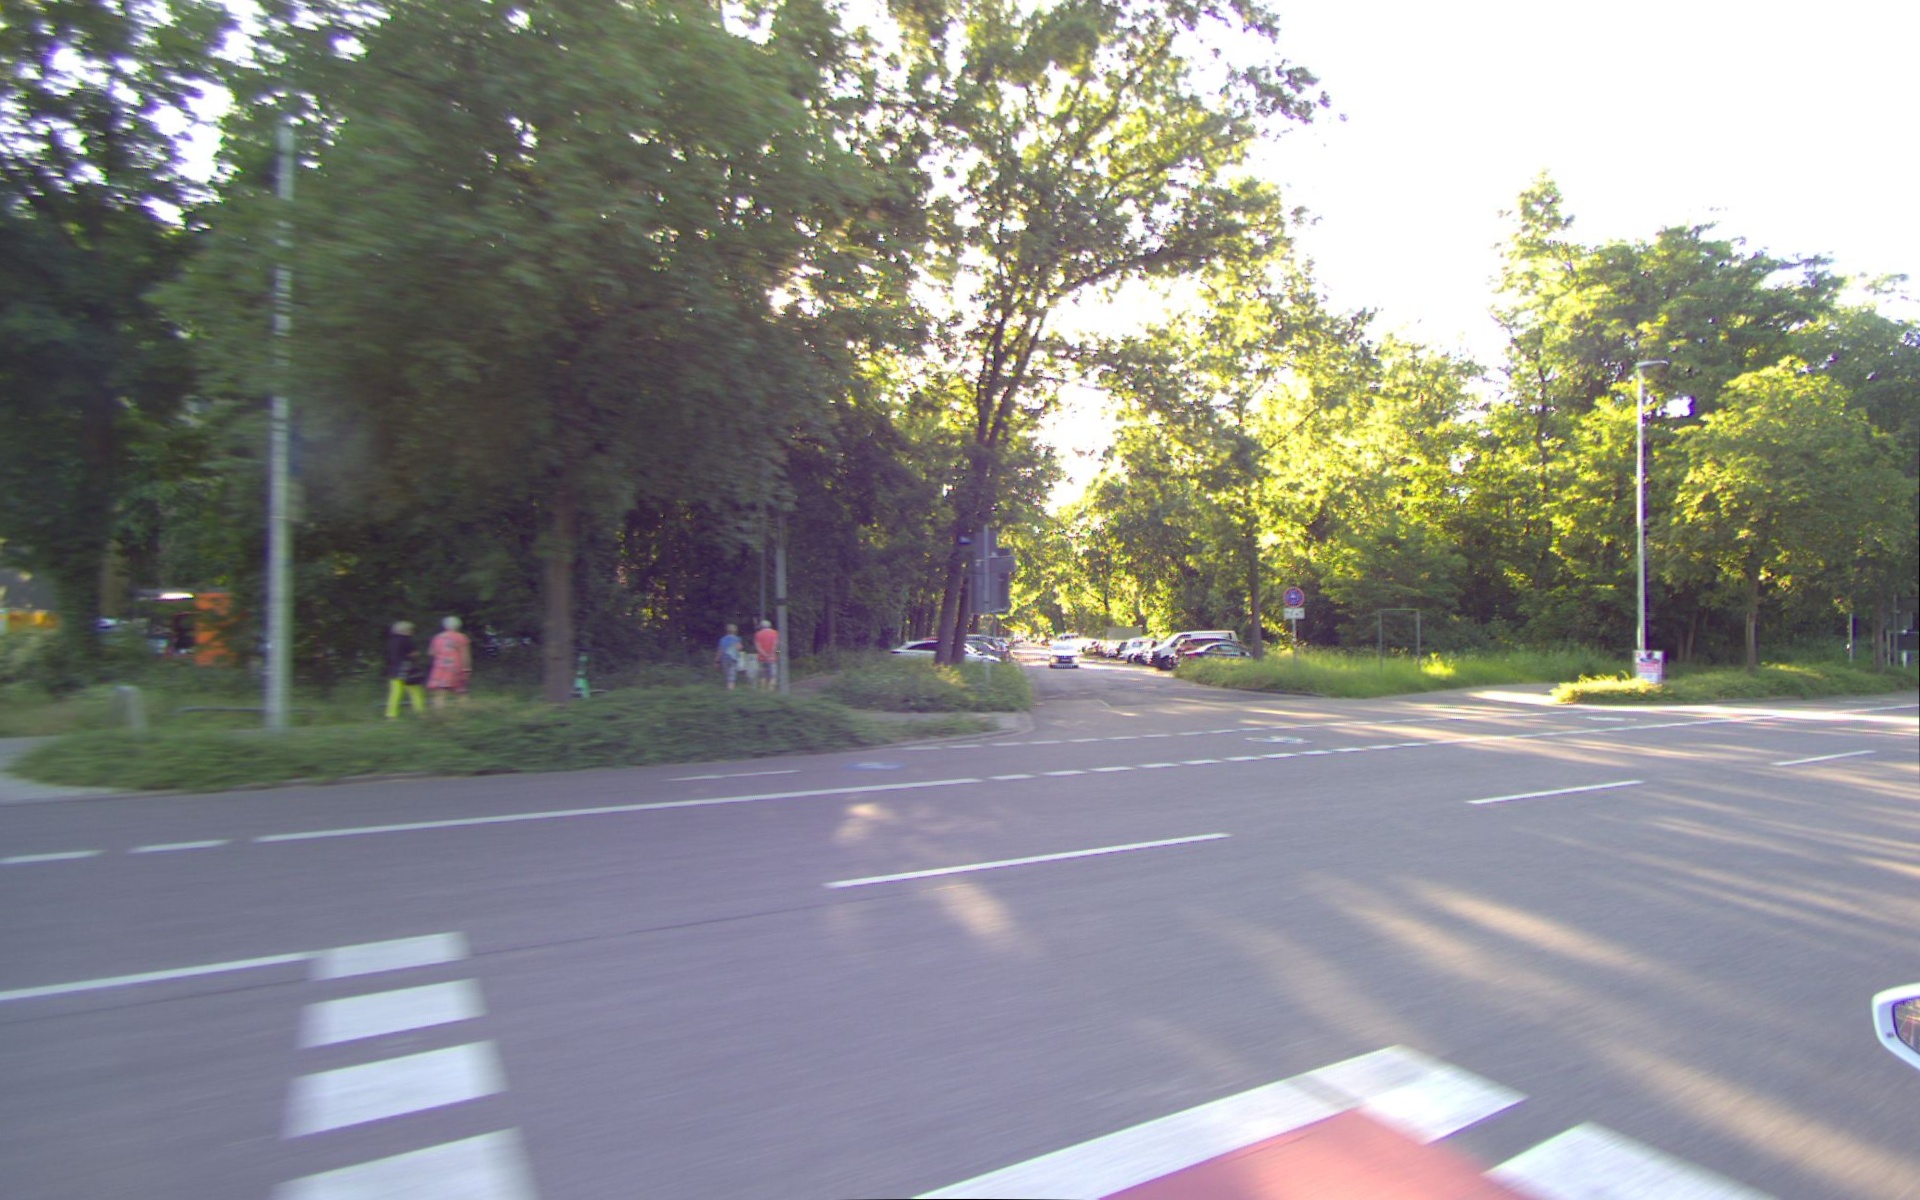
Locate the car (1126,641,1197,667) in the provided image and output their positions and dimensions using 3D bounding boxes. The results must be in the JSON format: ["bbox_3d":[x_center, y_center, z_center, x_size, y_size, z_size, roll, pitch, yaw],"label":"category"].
[{"bbox_3d":[12.113,3.250,60.436,3.922,1.486,1.673,0,-2,-3],"label":"car"}]

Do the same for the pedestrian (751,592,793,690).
[{"bbox_3d":[-3.962,0.864,21.195,0.732,2.040,0.719,0,-1,1],"label":"pedestrian"}]

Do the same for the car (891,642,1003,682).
[{"bbox_3d":[-0.471,2.428,39.662,4.325,1.501,2.001,0,-2,2],"label":"car"}]

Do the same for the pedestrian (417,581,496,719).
[{"bbox_3d":[-7.642,0.747,15.281,0.781,2.040,0.719,0,-2,3],"label":"pedestrian"}]

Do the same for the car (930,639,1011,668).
[{"bbox_3d":[0.608,2.912,55.111,4.410,1.564,2.001,0,-2,2],"label":"car"}]

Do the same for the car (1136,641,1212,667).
[{"bbox_3d":[12.179,3.067,57.229,3.922,1.486,1.673,0,-2,-3],"label":"car"}]

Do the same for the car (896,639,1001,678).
[{"bbox_3d":[-0.422,2.450,42.394,4.325,1.564,2.001,0,-2,2],"label":"car"}]

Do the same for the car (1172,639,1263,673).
[{"bbox_3d":[12.331,2.660,48.290,3.919,1.546,2.001,0,-2,4],"label":"car"}]

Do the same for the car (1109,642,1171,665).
[{"bbox_3d":[12.225,3.643,68.304,3.922,1.486,1.673,0,-2,-3],"label":"car"}]

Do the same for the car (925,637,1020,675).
[{"bbox_3d":[0.595,2.573,46.828,4.325,1.711,2.001,0,-2,2],"label":"car"}]

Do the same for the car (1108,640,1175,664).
[{"bbox_3d":[11.452,3.274,63.595,3.922,1.486,1.673,0,-2,-3],"label":"car"}]

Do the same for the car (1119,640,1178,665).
[{"bbox_3d":[13.855,3.831,73.930,3.922,1.762,2.000,0,-2,-1],"label":"car"}]

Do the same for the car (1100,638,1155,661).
[{"bbox_3d":[13.080,3.856,78.591,3.922,1.762,2.000,0,-2,-1],"label":"car"}]

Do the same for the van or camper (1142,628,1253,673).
[{"bbox_3d":[12.525,2.643,53.135,5.312,2.040,2.000,4,-1,0],"label":"van or camper"}]

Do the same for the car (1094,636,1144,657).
[{"bbox_3d":[13.430,3.929,84.878,3.922,1.762,2.000,0,-2,-1],"label":"car"}]

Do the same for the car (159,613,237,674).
[{"bbox_3d":[-26.821,1.502,35.479,1.980,2.007,3.961,1,-2,-35],"label":"car"}]

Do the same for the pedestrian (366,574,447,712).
[{"bbox_3d":[-8.430,0.652,15.325,0.781,2.040,0.719,0,-2,3],"label":"pedestrian"}]

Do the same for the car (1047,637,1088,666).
[{"bbox_3d":[6.055,2.880,57.023,1.960,1.564,4.501,0,-2,1],"label":"car"}]

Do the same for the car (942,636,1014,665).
[{"bbox_3d":[1.156,3.138,62.453,4.410,1.725,2.001,0,-2,2],"label":"car"}]

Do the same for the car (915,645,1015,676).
[{"bbox_3d":[0.255,2.672,44.520,4.325,1.332,2.001,0,-2,2],"label":"car"}]

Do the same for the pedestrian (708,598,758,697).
[{"bbox_3d":[-4.762,0.996,21.149,0.857,2.040,0.719,0,-2,1],"label":"pedestrian"}]
